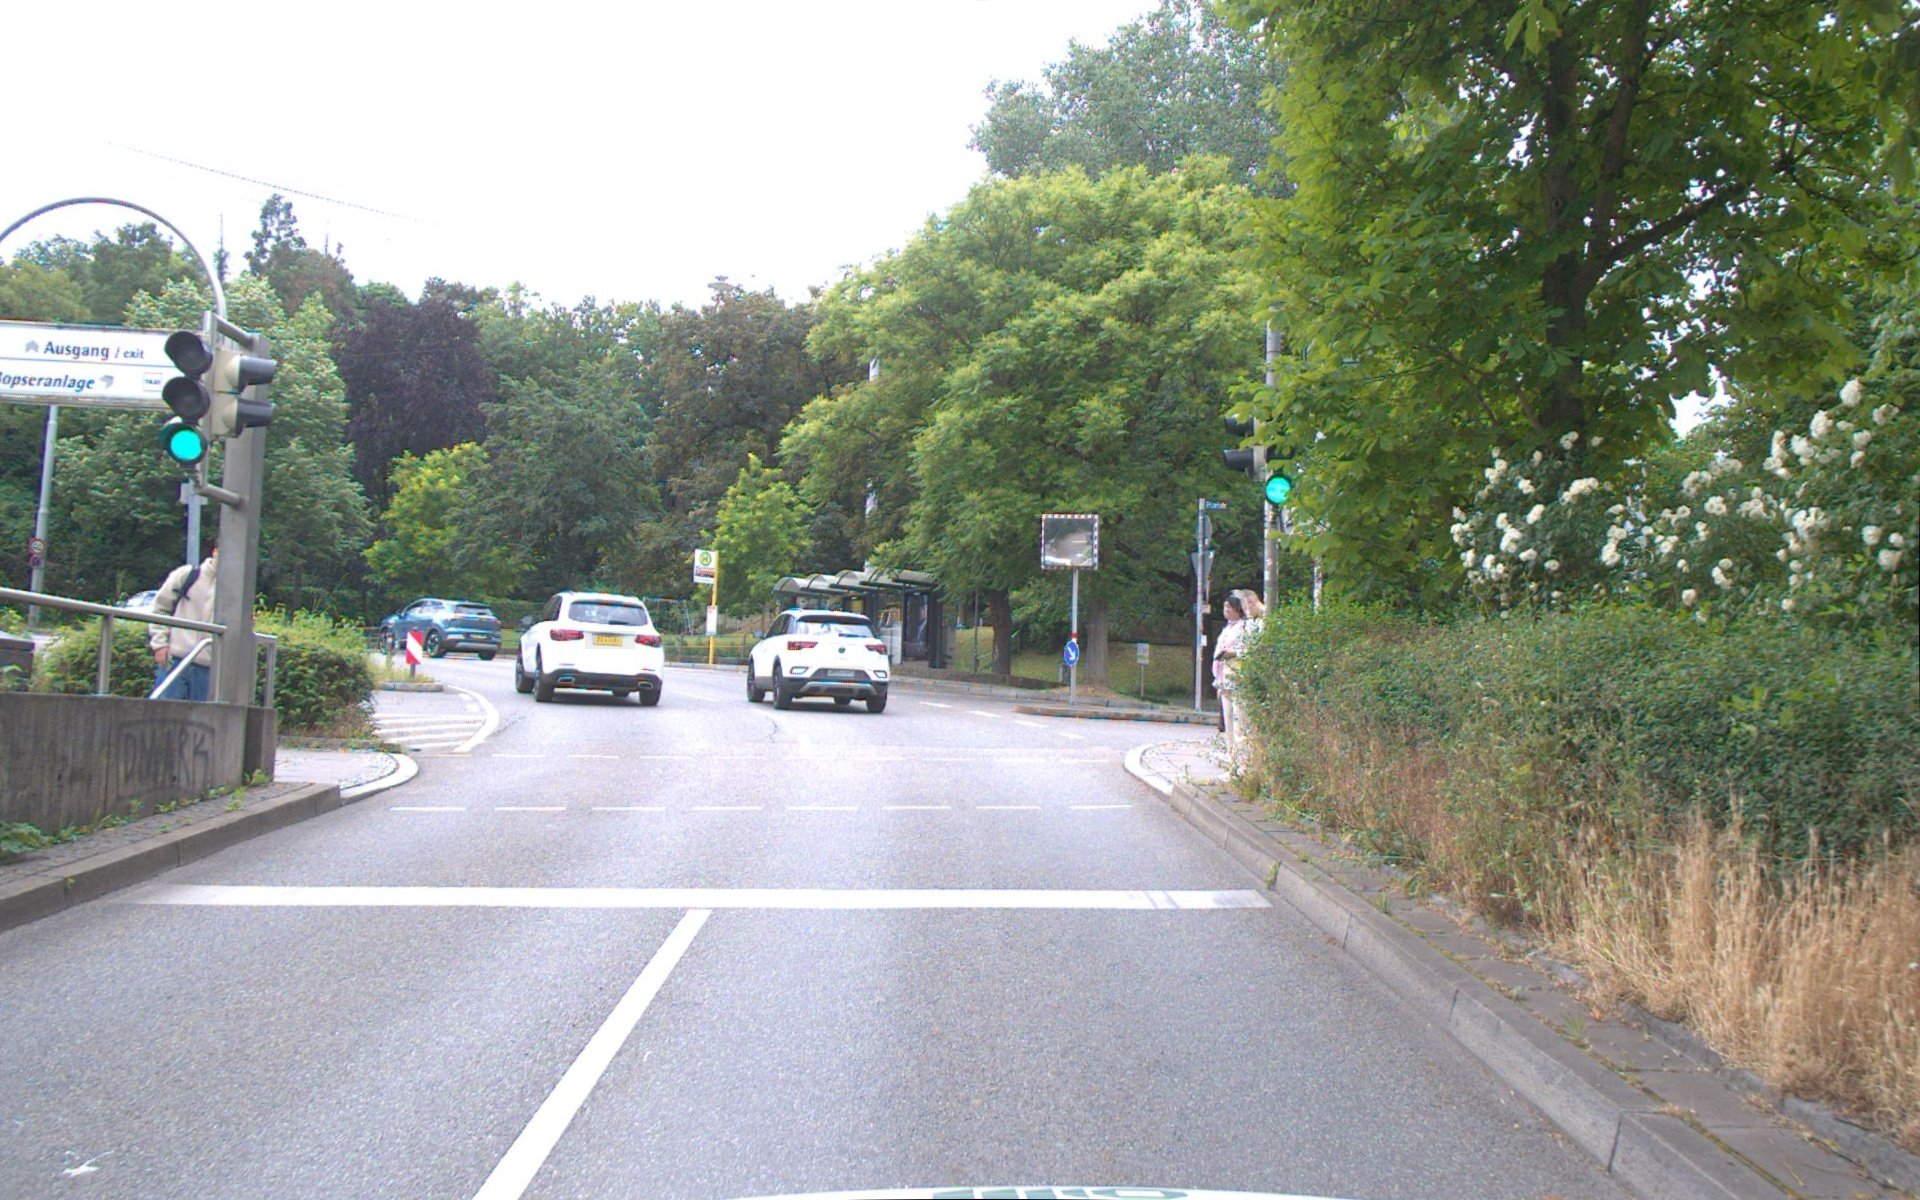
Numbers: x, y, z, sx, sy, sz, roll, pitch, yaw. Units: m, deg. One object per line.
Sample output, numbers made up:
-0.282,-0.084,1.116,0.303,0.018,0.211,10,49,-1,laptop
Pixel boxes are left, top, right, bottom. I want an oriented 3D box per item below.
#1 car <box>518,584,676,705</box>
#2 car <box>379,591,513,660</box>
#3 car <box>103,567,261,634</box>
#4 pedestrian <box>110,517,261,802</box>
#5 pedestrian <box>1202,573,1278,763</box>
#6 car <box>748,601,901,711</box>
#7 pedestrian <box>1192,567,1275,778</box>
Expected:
-5.812,0.666,26.105,1.849,1.681,4.316,3,-1,-19,car
-14.043,0.682,45.112,1.853,1.660,3.894,5,-3,-44,car
-21.829,0.011,46.344,4.225,1.546,2.244,2,-5,38,car
-5.316,0.398,11.381,0.690,1.893,0.614,1,-1,5,pedestrian
2.625,0.630,15.560,0.602,1.742,0.727,0,-1,3,pedestrian
-2.280,0.876,26.922,1.833,1.583,3.880,3,-1,-14,car
2.308,0.602,14.020,0.602,1.742,0.727,0,-1,3,pedestrian
